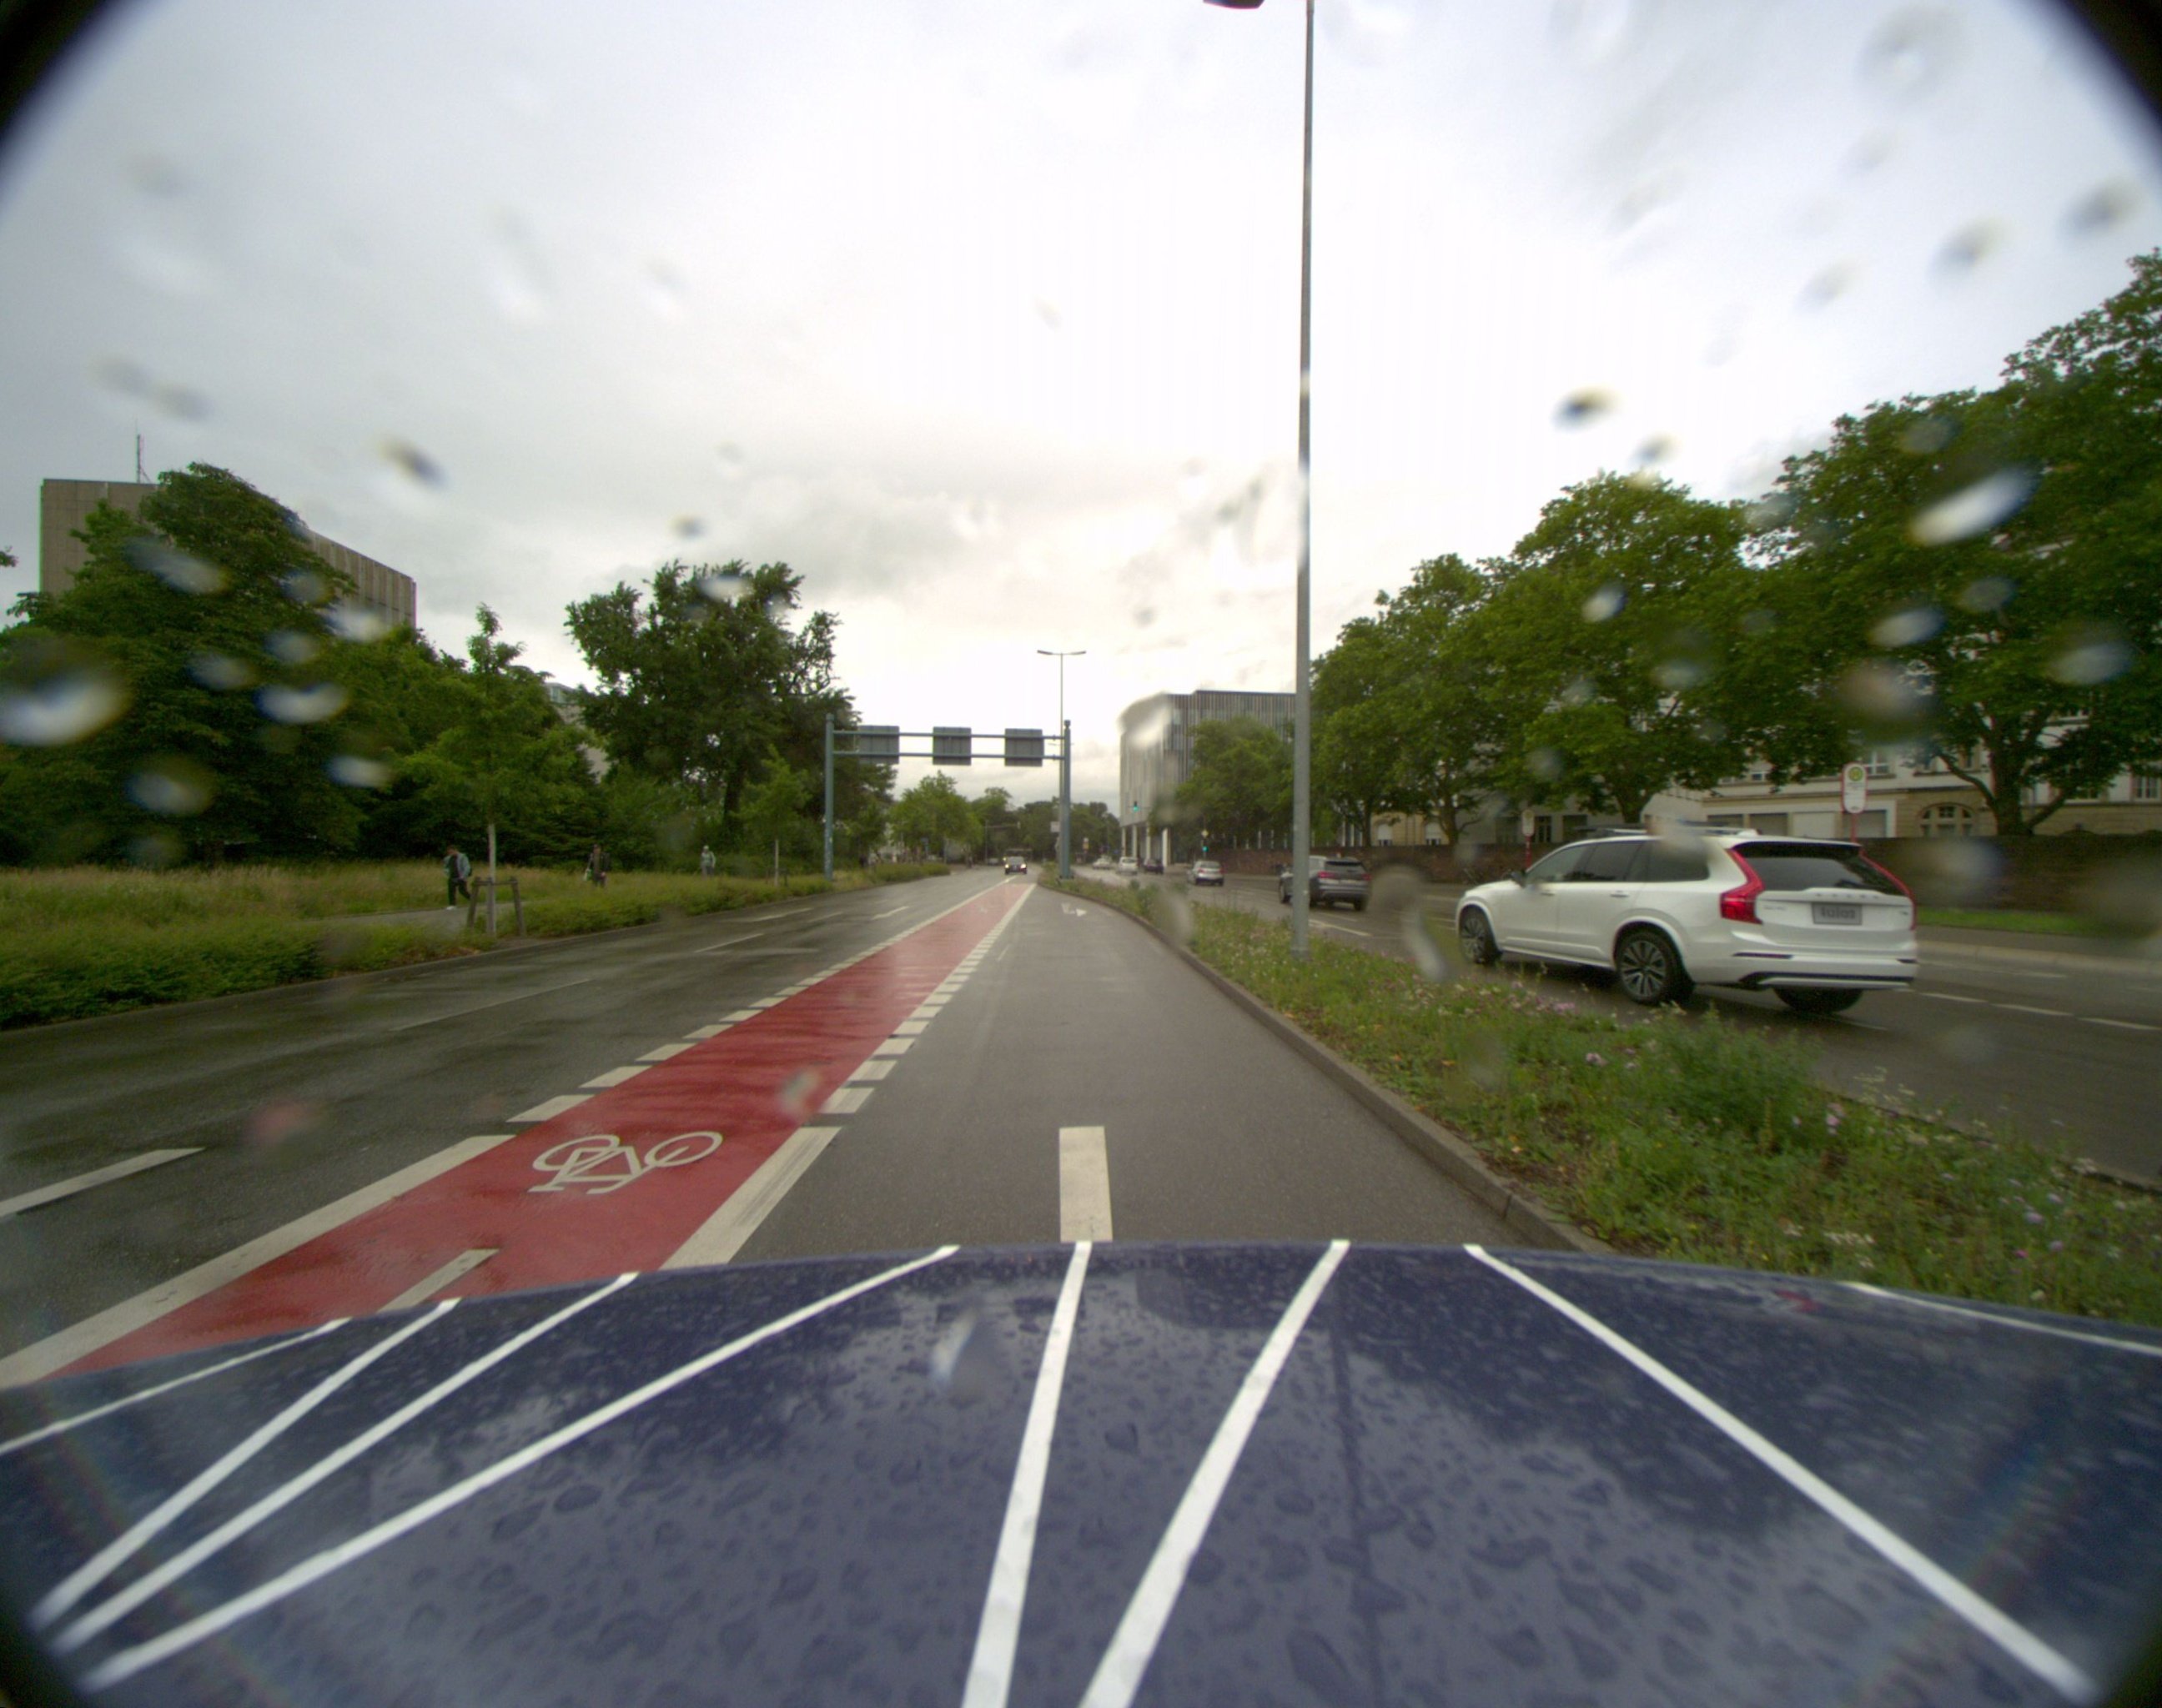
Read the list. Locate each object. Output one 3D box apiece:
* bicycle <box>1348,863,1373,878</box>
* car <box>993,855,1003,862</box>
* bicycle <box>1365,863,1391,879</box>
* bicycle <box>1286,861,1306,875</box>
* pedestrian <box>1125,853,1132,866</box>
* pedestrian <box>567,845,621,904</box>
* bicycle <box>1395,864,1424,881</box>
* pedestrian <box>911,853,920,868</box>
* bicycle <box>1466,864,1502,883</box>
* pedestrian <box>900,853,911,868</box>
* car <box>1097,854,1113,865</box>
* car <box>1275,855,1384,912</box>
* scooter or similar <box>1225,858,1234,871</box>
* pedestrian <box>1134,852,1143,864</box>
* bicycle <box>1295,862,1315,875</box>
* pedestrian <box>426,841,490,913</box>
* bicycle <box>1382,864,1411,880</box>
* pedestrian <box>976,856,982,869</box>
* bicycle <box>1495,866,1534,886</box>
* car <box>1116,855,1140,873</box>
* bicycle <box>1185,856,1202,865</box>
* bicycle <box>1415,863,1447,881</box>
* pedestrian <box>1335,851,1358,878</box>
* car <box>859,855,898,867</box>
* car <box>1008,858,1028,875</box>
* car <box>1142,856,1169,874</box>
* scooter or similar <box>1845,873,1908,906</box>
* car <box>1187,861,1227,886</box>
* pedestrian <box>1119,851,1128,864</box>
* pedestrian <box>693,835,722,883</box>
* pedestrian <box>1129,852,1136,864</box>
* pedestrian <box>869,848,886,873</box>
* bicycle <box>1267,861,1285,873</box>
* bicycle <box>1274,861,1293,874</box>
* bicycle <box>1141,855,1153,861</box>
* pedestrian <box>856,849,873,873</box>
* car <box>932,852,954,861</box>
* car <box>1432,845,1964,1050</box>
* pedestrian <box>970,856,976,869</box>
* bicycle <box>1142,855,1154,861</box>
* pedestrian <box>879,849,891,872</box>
[{"bbox_3d":[18.339,1.076,49.916,0.734,0.977,1.699,0,0,-14],"label":"bicycle"},{"bbox_3d":[-15.647,0.879,143.137,1.661,1.259,4.105,0,0,-4],"label":"car"},{"bbox_3d":[18.839,1.077,48.238,0.734,0.977,1.699,0,0,-14],"label":"bicycle"},{"bbox_3d":[16.629,1.074,58.694,0.734,0.977,1.699,0,0,-14],"label":"bicycle"},{"bbox_3d":[6.546,0.747,104.819,0.788,1.813,0.794,0,0,-26],"label":"pedestrian"},{"bbox_3d":[-14.673,0.599,22.933,0.935,1.737,1.046,0,0,4],"label":"pedestrian"},{"bbox_3d":[19.550,1.095,45.235,0.734,0.977,1.699,0,0,-14],"label":"bicycle"},{"bbox_3d":[-18.000,0.696,82.613,0.878,1.598,0.862,0,0,-25],"label":"pedestrian"},{"bbox_3d":[21.216,1.024,40.027,0.734,0.977,1.699,0,0,-14],"label":"bicycle"},{"bbox_3d":[-19.001,0.661,82.213,0.879,1.598,0.861,0,0,-31],"label":"pedestrian"},{"bbox_3d":[3.224,0.786,102.993,1.601,1.407,4.522,2,0,-5],"label":"car"},{"bbox_3d":[7.981,0.885,24.919,1.998,1.626,4.602,2,0,0],"label":"car"},{"bbox_3d":[14.064,0.965,72.036,0.392,1.191,1.141,-7,1,-9],"label":"scooter or similar"},{"bbox_3d":[8.421,0.549,111.052,0.941,1.813,0.921,0,0,-26],"label":"pedestrian"},{"bbox_3d":[16.651,1.071,56.512,0.733,0.977,1.863,0,0,-9],"label":"bicycle"},{"bbox_3d":[-15.878,0.577,19.391,0.935,1.786,0.829,0,0,4],"label":"pedestrian"},{"bbox_3d":[19.320,1.094,46.569,0.734,0.977,1.699,0,0,-14],"label":"bicycle"},{"bbox_3d":[-14.231,1.173,105.555,0.625,1.814,0.785,0,0,-25],"label":"pedestrian"},{"bbox_3d":[21.667,1.092,37.992,0.734,0.977,1.699,0,0,-14],"label":"bicycle"},{"bbox_3d":[4.066,0.815,66.017,1.684,1.493,3.867,1,0,-2],"label":"car"},{"bbox_3d":[16.130,0.903,108.753,2.287,1.215,0.598,0,0,-15],"label":"bicycle"},{"bbox_3d":[19.757,1.021,42.888,0.734,0.977,1.699,0,0,-14],"label":"bicycle"},{"bbox_3d":[17.298,0.668,49.491,0.871,1.686,1.399,0,0,-9],"label":"pedestrian"},{"bbox_3d":[-24.534,0.810,92.050,4.389,1.330,1.771,0,3,-6],"label":"car"},{"bbox_3d":[-5.290,1.044,64.151,1.661,1.356,4.105,0,0,-4],"label":"car"},{"bbox_3d":[7.156,1.031,73.018,1.814,1.531,4.701,2,0,-3],"label":"car"},{"bbox_3d":[26.759,1.183,25.583,0.574,1.040,1.360,0,0,-19],"label":"scooter or similar"},{"bbox_3d":[7.742,1.178,46.869,1.683,1.396,4.157,1,0,-1],"label":"car"},{"bbox_3d":[6.127,0.530,110.273,0.941,1.813,0.921,0,0,-33],"label":"pedestrian"},{"bbox_3d":[-15.999,0.205,32.570,0.792,2.002,0.829,0,0,4],"label":"pedestrian"},{"bbox_3d":[7.460,0.550,109.549,0.788,1.814,0.623,0,1,-26],"label":"pedestrian"},{"bbox_3d":[-14.324,0.495,53.594,0.935,1.710,0.829,-1,-2,2],"label":"pedestrian"},{"bbox_3d":[15.971,1.073,62.364,0.734,0.977,1.699,0,0,-14],"label":"bicycle"},{"bbox_3d":[16.094,1.072,60.344,0.734,0.977,1.699,0,0,-14],"label":"bicycle"},{"bbox_3d":[12.601,0.775,145.428,2.283,1.215,0.599,0,0,6],"label":"bicycle"},{"bbox_3d":[-15.330,0.504,53.840,0.935,1.693,0.829,-1,-2,2],"label":"pedestrian"},{"bbox_3d":[-28.378,0.444,155.991,4.428,1.862,1.636,0,0,-11],"label":"car"},{"bbox_3d":[6.379,0.783,8.953,1.831,1.672,5.163,2,0,-3],"label":"car"},{"bbox_3d":[-14.852,1.166,104.549,0.626,1.814,0.785,0,0,-32],"label":"pedestrian"},{"bbox_3d":[12.741,0.775,144.400,2.283,1.215,0.599,0,0,6],"label":"bicycle"},{"bbox_3d":[-15.898,0.547,61.706,0.731,1.848,0.851,0,0,4],"label":"pedestrian"}]
